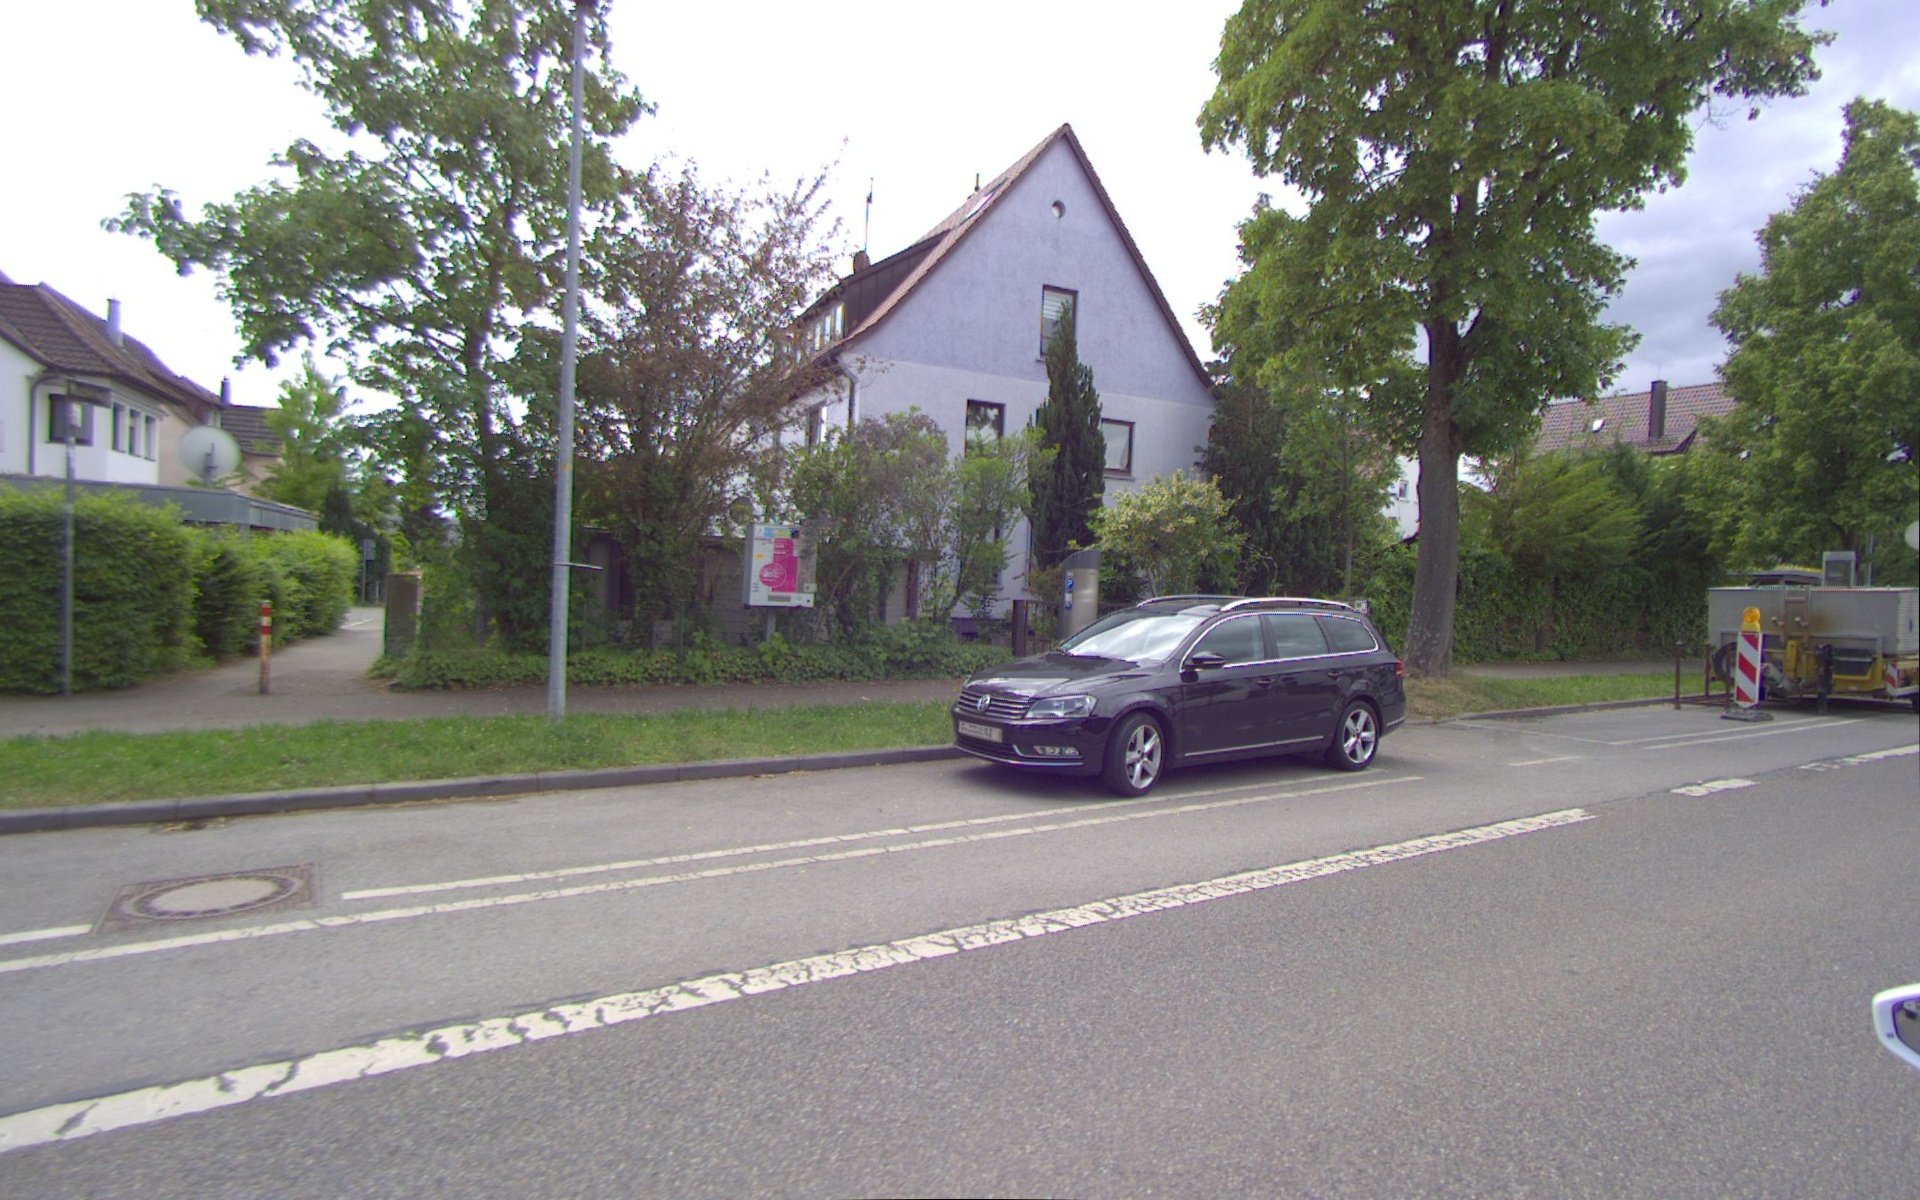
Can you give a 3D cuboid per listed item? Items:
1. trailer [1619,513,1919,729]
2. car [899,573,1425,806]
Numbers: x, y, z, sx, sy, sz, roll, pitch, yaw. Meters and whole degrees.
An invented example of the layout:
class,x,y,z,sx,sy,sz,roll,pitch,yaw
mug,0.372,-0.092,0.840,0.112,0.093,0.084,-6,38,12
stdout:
class,x,y,z,sx,sy,sz,roll,pitch,yaw
trailer,14.378,0.371,17.076,7.401,2.980,2.656,2,1,-35
car,1.927,0.716,8.928,4.573,1.573,1.848,4,0,-34
